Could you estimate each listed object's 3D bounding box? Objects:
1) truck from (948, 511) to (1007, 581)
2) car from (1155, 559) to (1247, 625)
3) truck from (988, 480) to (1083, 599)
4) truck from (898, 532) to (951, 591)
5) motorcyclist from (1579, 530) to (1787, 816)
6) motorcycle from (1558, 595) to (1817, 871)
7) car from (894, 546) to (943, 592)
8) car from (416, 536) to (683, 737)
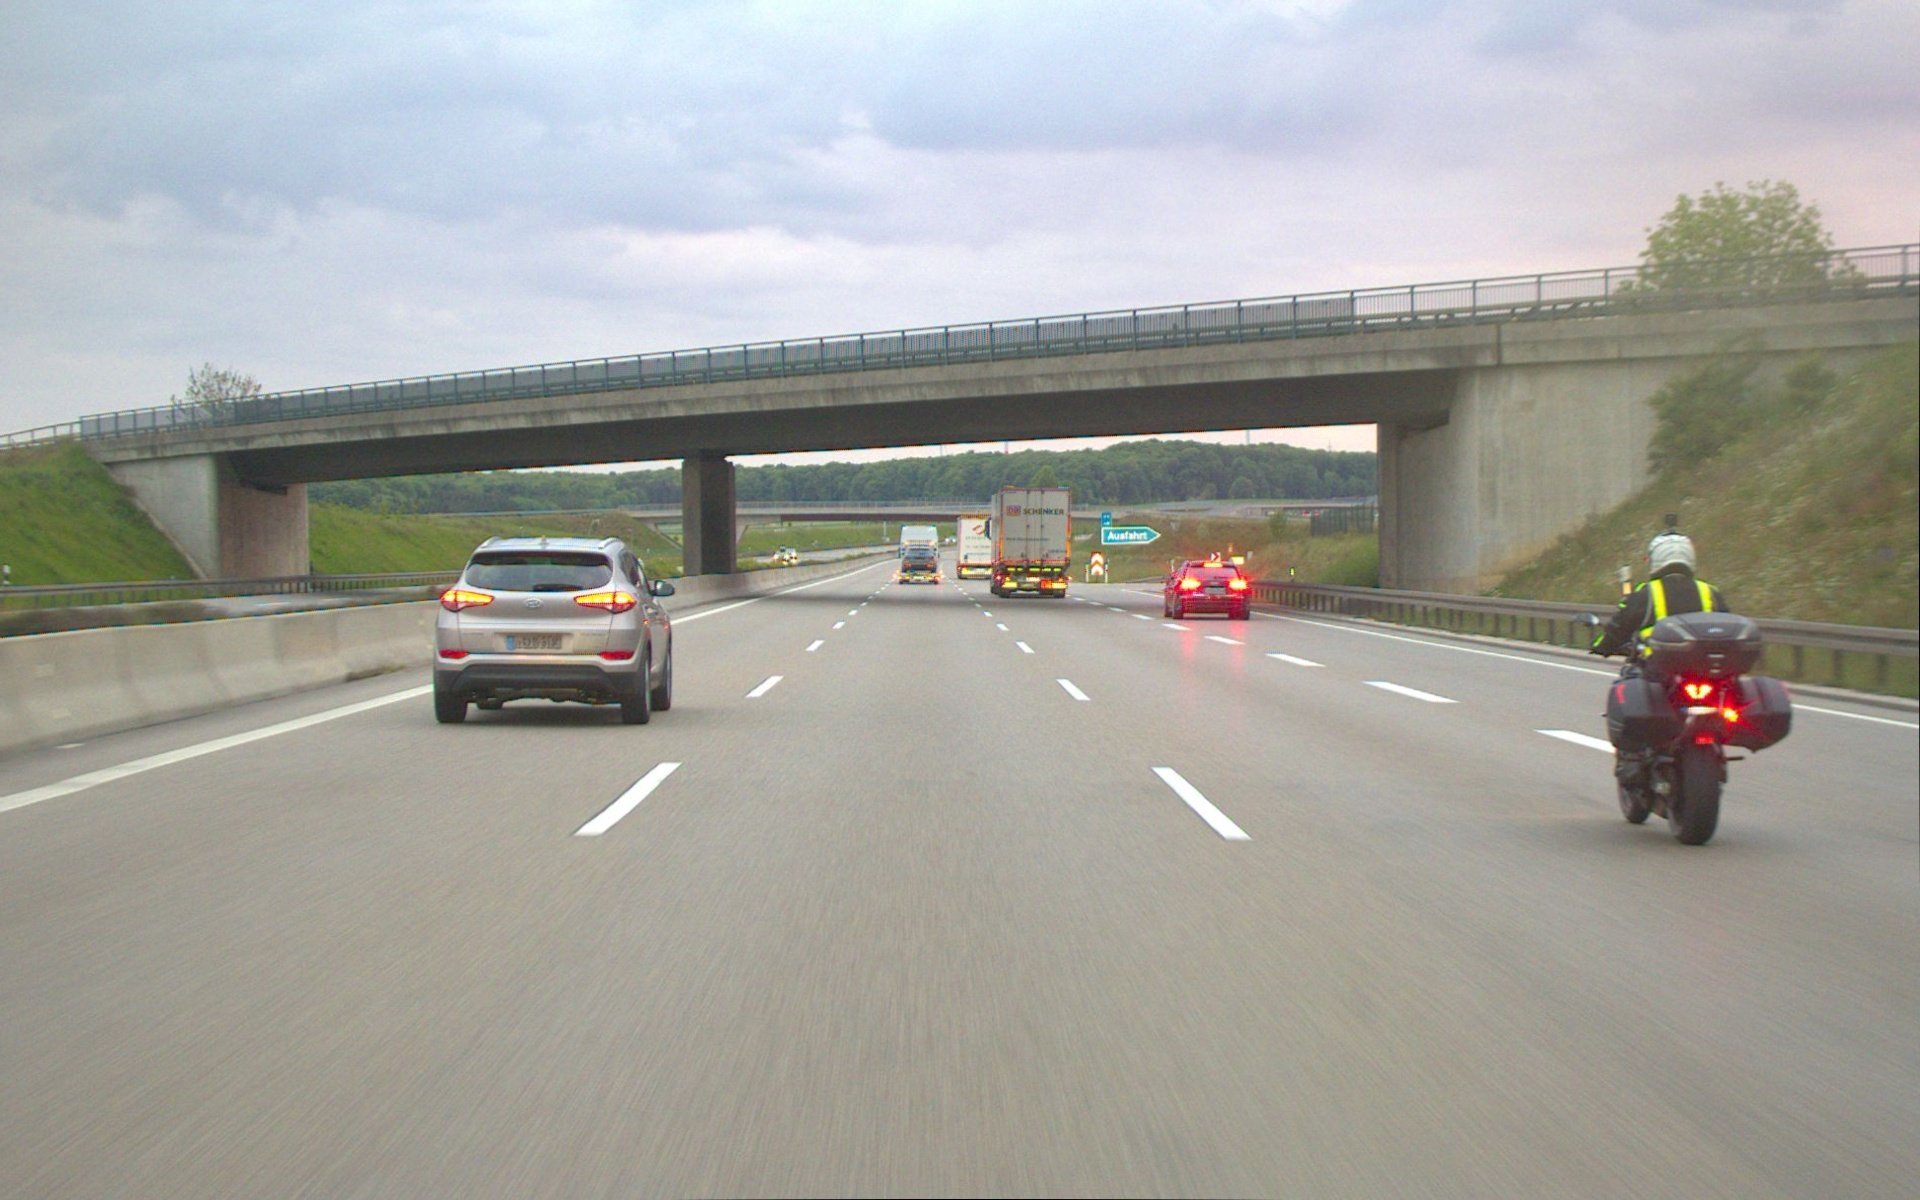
[{"bbox_3d":[1.125,-3.516,222.208,3.525,4.330,8.406,1,1,-1],"label":"truck"},{"bbox_3d":[5.966,-0.222,85.444,1.918,1.574,4.000,0,1,-1],"label":"car"},{"bbox_3d":[2.753,-2.279,127.965,3.234,4.213,9.599,1,1,0],"label":"truck"},{"bbox_3d":[-2.079,-2.252,197.500,2.951,3.206,8.406,1,1,-1],"label":"truck"},{"bbox_3d":[3.896,0.370,18.615,0.866,1.482,1.168,1,1,1],"label":"motorcyclist"},{"bbox_3d":[3.909,0.677,18.685,0.902,1.342,2.349,0,2,0],"label":"motorcycle"},{"bbox_3d":[-2.224,-1.664,181.501,2.516,2.383,6.497,0,1,-1],"label":"car"},{"bbox_3d":[-3.685,0.265,31.761,1.852,1.687,5.512,0,1,-1],"label":"car"}]
